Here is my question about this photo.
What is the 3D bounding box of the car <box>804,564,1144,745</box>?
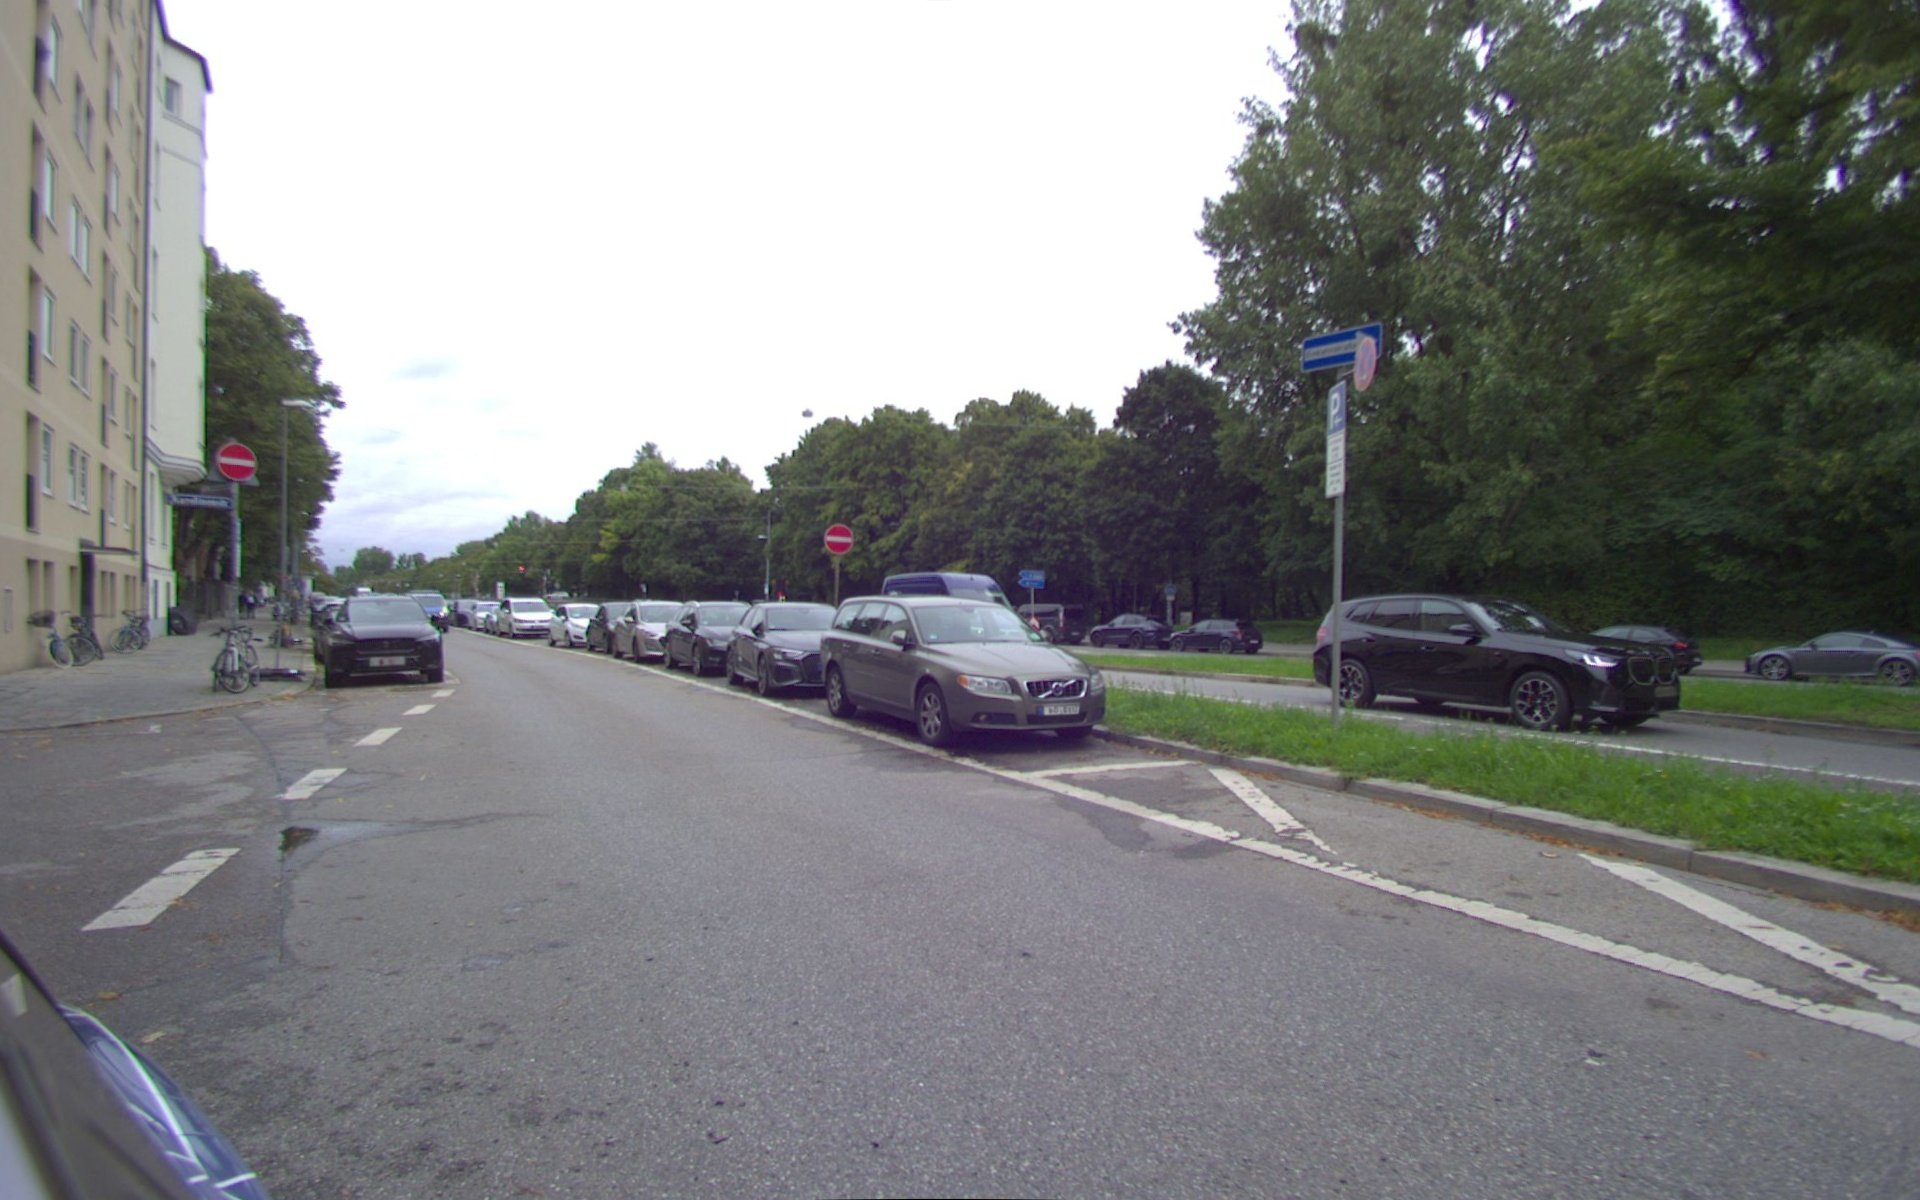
[{"bbox_3d":[-0.135,0.490,11.373,1.872,1.577,4.786,1,0,-26],"label":"car"}]

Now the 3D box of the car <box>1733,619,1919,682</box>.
[{"bbox_3d":[22.734,1.250,25.709,1.967,1.457,4.537,2,-1,-35],"label":"car"}]

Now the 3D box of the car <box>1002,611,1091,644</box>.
[{"bbox_3d":[4.401,1.398,52.182,1.967,1.546,4.718,2,-1,-35],"label":"car"}]

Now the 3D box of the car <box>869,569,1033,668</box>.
[{"bbox_3d":[-0.422,0.443,28.477,2.153,2.482,5.871,1,1,-27],"label":"car"}]

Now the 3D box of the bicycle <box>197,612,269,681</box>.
[{"bbox_3d":[-11.813,0.728,16.485,0.622,1.045,1.741,1,-1,-25],"label":"bicycle"}]

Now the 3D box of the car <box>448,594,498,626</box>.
[{"bbox_3d":[-27.505,0.549,57.120,1.919,1.698,4.010,1,-1,-35],"label":"car"}]

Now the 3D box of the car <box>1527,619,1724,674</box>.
[{"bbox_3d":[19.842,1.356,30.372,1.967,1.457,4.537,2,-1,-35],"label":"car"}]

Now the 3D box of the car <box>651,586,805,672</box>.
[{"bbox_3d":[-4.879,0.543,20.850,1.959,1.577,4.296,1,0,-29],"label":"car"}]

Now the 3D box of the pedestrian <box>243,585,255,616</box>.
[{"bbox_3d":[-46.320,0.026,65.907,0.618,2.029,0.452,0,-1,41],"label":"pedestrian"}]

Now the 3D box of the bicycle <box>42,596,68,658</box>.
[{"bbox_3d":[-17.834,0.514,19.945,0.358,1.180,1.321,1,-1,-42],"label":"bicycle"}]

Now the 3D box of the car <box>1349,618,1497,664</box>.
[{"bbox_3d":[16.179,1.398,35.558,1.967,1.457,4.329,2,-1,-35],"label":"car"}]

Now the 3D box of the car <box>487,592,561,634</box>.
[{"bbox_3d":[-19.064,0.534,44.153,2.041,1.715,5.104,1,0,-34],"label":"car"}]

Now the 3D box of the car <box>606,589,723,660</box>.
[{"bbox_3d":[-7.415,0.564,25.139,1.959,1.577,4.296,1,0,-28],"label":"car"}]

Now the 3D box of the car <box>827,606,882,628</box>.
[{"bbox_3d":[-7.469,1.159,71.449,1.967,1.457,4.329,2,-1,-35],"label":"car"}]

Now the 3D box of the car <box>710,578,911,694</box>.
[{"bbox_3d":[-2.534,0.501,16.143,1.959,1.577,4.297,1,0,-26],"label":"car"}]

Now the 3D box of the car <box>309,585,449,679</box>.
[{"bbox_3d":[-11.186,0.544,19.512,2.094,1.577,4.521,-1,0,-30],"label":"car"}]

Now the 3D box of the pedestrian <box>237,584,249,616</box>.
[{"bbox_3d":[-46.051,0.015,65.018,0.618,2.029,0.452,0,-1,41],"label":"pedestrian"}]

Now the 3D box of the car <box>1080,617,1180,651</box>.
[{"bbox_3d":[7.872,1.541,47.112,1.967,1.457,4.537,2,-1,-35],"label":"car"}]

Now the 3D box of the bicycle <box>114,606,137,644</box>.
[{"bbox_3d":[-22.504,0.669,27.301,0.455,1.012,1.322,1,-1,-39],"label":"bicycle"}]

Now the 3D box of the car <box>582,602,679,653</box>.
[{"bbox_3d":[-9.678,0.751,29.532,1.738,1.380,4.295,1,0,-32],"label":"car"}]

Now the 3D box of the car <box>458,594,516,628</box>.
[{"bbox_3d":[-24.893,0.574,53.182,2.041,1.715,4.571,1,0,-34],"label":"car"}]

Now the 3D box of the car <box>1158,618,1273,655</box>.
[{"bbox_3d":[10.780,1.523,42.973,1.967,1.457,4.537,2,-1,-35],"label":"car"}]

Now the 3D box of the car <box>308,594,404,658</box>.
[{"bbox_3d":[-16.629,0.641,27.783,2.095,1.577,4.520,-1,0,-32],"label":"car"}]

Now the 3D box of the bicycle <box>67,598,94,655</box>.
[{"bbox_3d":[-18.681,0.557,21.491,0.395,1.180,1.321,1,-1,-42],"label":"bicycle"}]

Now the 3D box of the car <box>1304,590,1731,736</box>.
[{"bbox_3d":[7.147,0.699,13.650,1.886,1.598,4.846,1,0,-26],"label":"car"}]

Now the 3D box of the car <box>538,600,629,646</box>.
[{"bbox_3d":[-12.963,0.747,34.702,1.960,1.467,4.294,1,0,-34],"label":"car"}]

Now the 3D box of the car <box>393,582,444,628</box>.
[{"bbox_3d":[-28.035,0.216,52.340,1.827,2.227,4.565,0,1,-34],"label":"car"}]
